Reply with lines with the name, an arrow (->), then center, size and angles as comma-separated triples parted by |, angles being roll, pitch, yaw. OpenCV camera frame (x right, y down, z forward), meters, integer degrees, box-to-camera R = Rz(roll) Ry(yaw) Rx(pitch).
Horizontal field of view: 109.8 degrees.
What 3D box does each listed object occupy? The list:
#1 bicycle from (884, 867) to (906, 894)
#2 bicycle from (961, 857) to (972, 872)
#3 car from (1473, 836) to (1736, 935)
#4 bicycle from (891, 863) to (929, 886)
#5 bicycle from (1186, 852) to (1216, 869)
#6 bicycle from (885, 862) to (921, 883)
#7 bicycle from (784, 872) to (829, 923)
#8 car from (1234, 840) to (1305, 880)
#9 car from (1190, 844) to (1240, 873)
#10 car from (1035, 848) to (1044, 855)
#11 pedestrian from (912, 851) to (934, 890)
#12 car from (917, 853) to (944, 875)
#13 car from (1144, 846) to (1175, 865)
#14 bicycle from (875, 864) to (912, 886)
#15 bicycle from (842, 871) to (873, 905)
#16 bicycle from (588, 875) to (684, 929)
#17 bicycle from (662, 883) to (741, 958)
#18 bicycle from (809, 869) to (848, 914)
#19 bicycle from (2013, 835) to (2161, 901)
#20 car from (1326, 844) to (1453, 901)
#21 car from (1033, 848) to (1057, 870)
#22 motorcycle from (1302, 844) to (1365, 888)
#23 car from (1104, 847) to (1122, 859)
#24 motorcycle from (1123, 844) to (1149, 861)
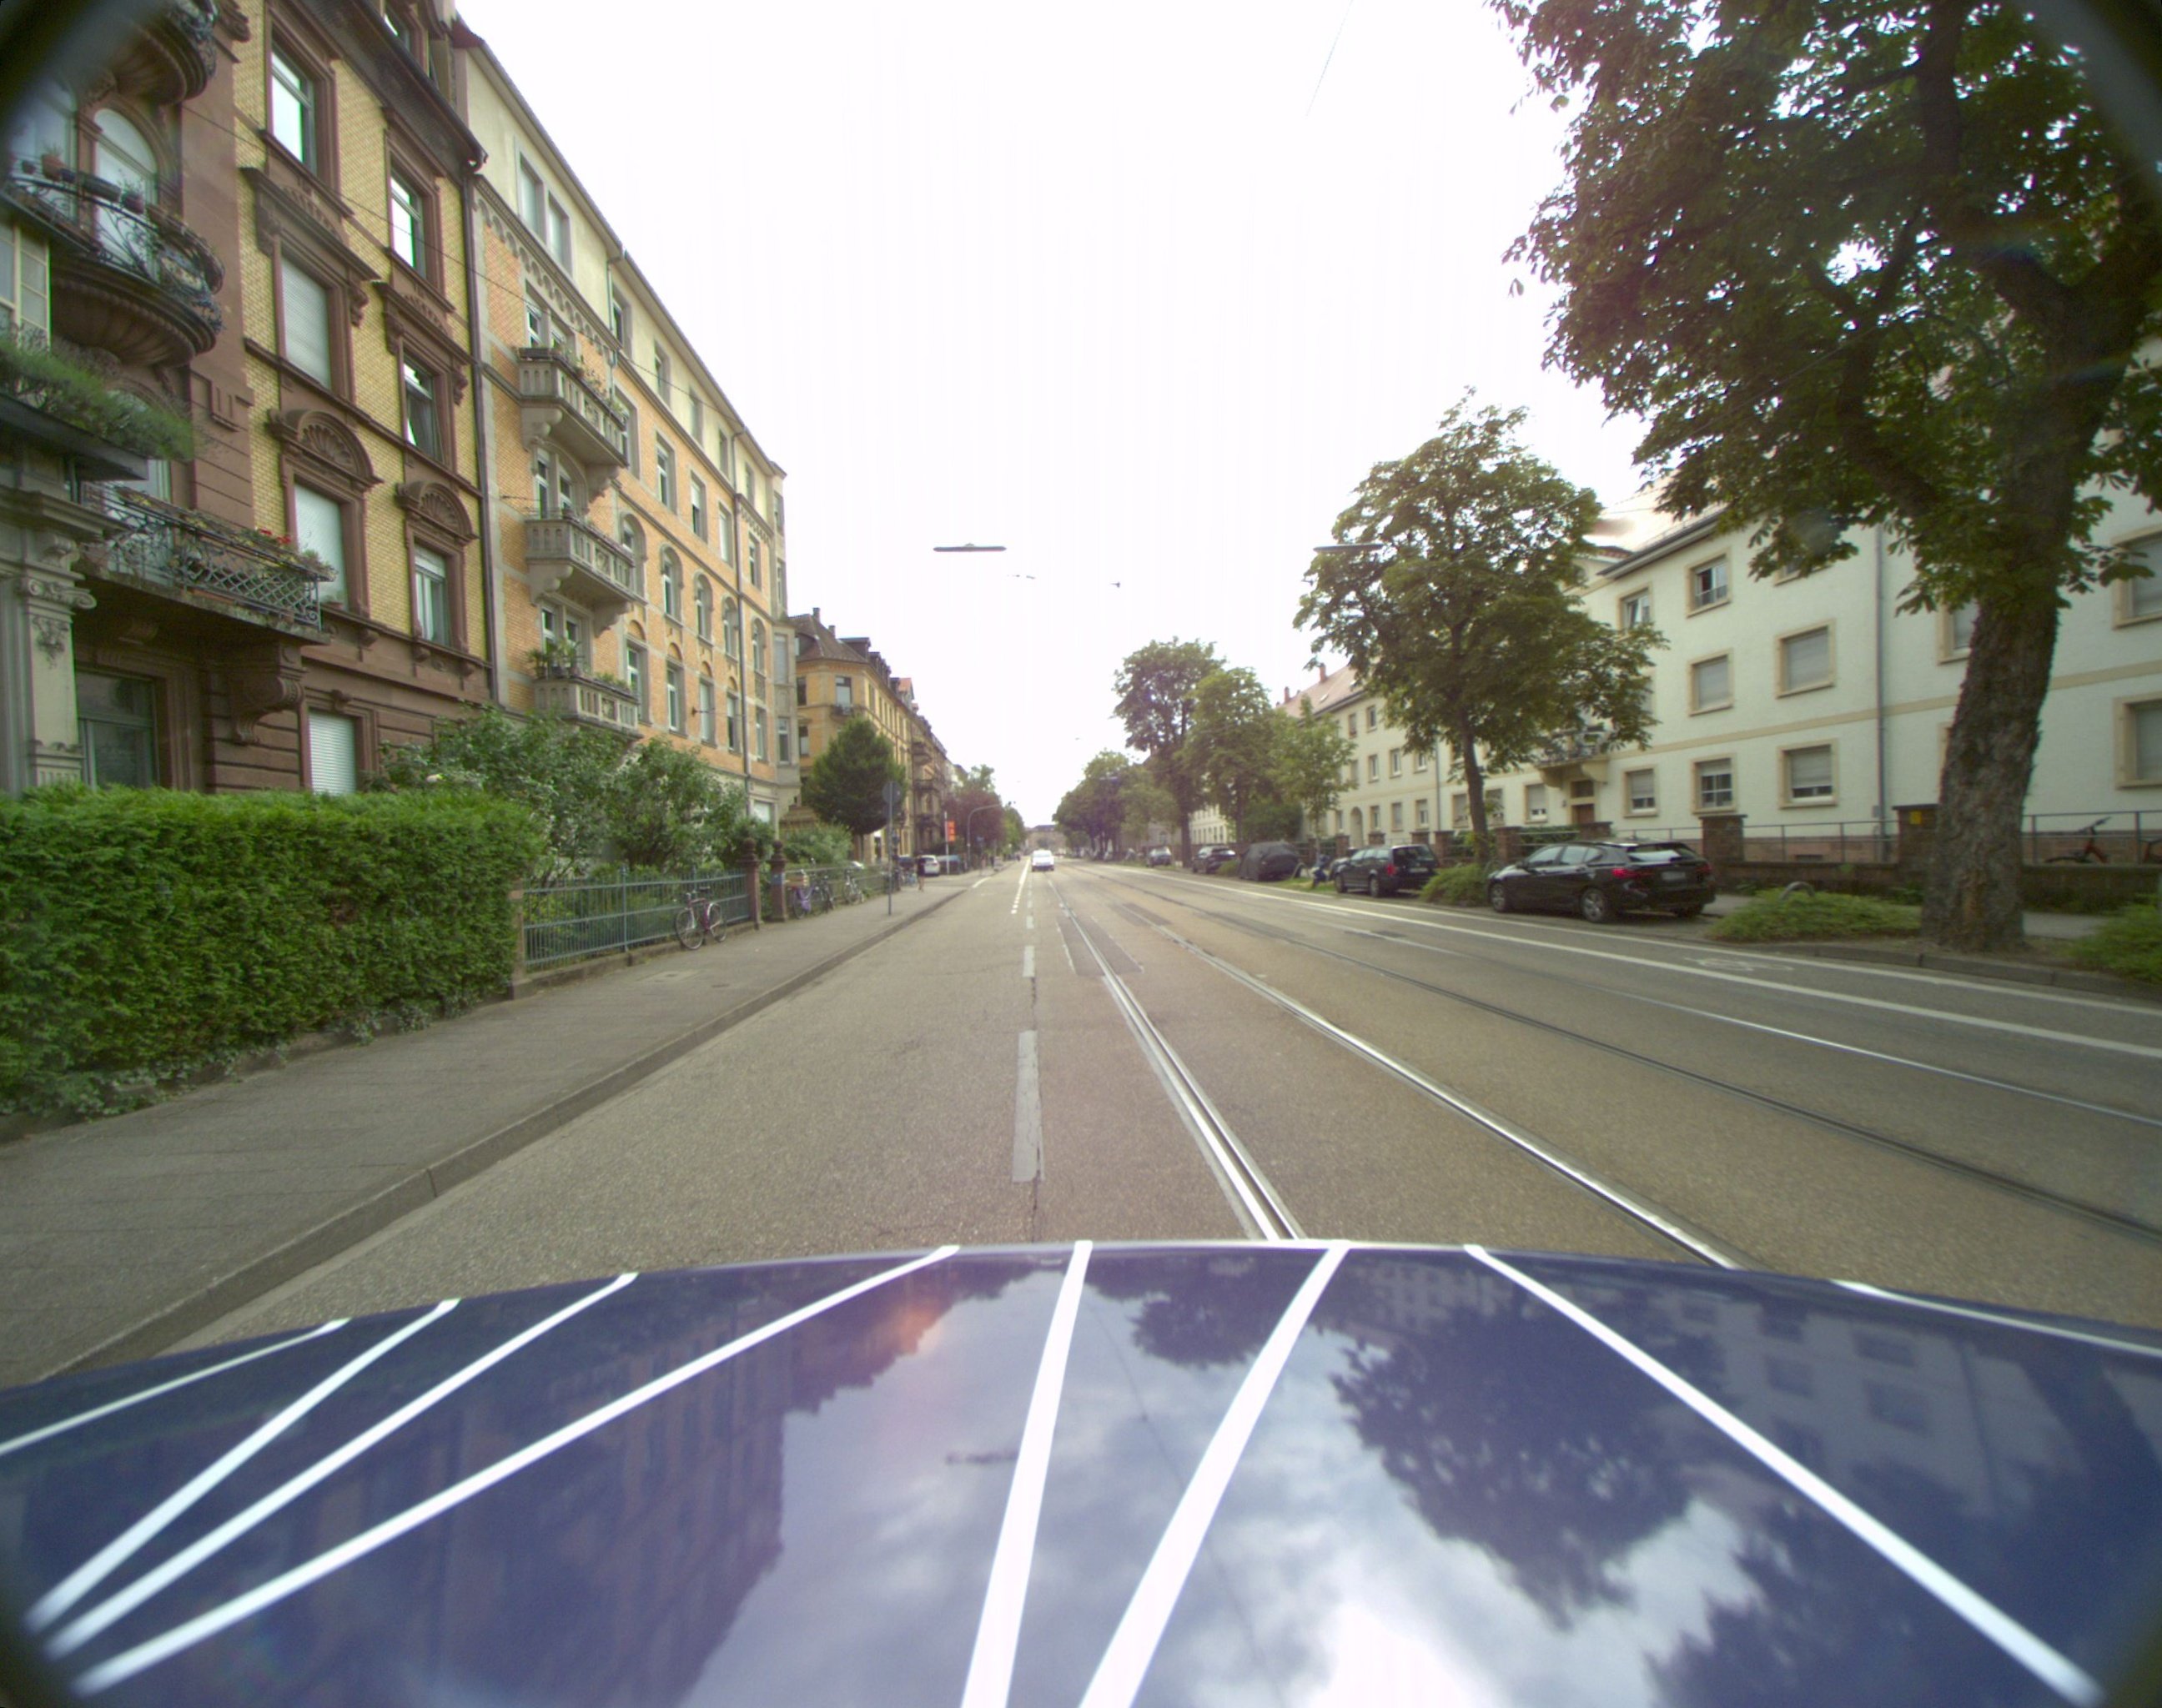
bicycle -> -7.318, 1.013, 29.941 | 0.580, 0.977, 1.671 | 2, 0, -4
bicycle -> -9.448, 0.853, 62.714 | 0.631, 1.106, 1.873 | -2, 1, -2
car -> 9.430, 0.481, 14.219 | 1.701, 1.415, 4.298 | -5, 1, -3
bicycle -> -8.862, 1.040, 39.348 | 0.629, 1.106, 1.878 | -1, 1, 40
bicycle -> 7.528, 0.416, 47.647 | 1.672, 0.965, 0.672 | -2, 1, -12
bicycle -> -9.968, 1.017, 42.530 | 1.890, 1.121, 0.533 | -2, 1, 13
bicycle -> -6.650, 1.026, 18.464 | 0.580, 1.105, 1.671 | 2, 0, -4
car -> 8.249, 0.244, 33.652 | 1.790, 1.602, 4.298 | -2, 1, -3
car -> 7.507, 0.219, 42.948 | 1.702, 1.462, 4.297 | -2, 1, -5
car -> -10.772, -0.665, 197.246 | 1.947, 1.675, 4.000 | -2, 1, 1
pedestrian -> -6.663, 0.682, 32.130 | 0.732, 1.614, 0.835 | -2, 1, -4
car -> -11.235, 0.691, 56.788 | 1.757, 1.516, 3.996 | -2, 1, -9
car -> 6.389, 0.113, 62.159 | 1.702, 1.462, 4.297 | -3, 1, -5
bicycle -> -10.228, 1.141, 41.457 | 1.890, 1.121, 0.533 | -2, 1, 18
bicycle -> -7.053, 1.060, 24.058 | 0.580, 0.977, 1.671 | 2, 0, -4
bicycle -> -9.736, 1.038, 16.672 | 1.671, 1.105, 0.611 | -2, 1, -5
bicycle -> -6.498, 1.104, 13.109 | 0.580, 1.105, 1.671 | -2, 1, -4
bicycle -> -6.779, 0.995, 20.433 | 0.580, 1.105, 1.671 | 2, 0, -4
bicycle -> 14.415, 0.177, 10.744 | 0.510, 0.858, 1.549 | -2, 1, -3
car -> 8.873, 0.464, 22.252 | 1.701, 1.415, 4.298 | -3, 1, -3
car -> -2.990, 0.366, 63.999 | 1.876, 1.670, 5.129 | -2, 1, -3
motorcycle -> 8.680, 0.411, 26.170 | 1.872, 1.253, 0.591 | -8, 2, -7
car -> 4.125, -0.101, 99.498 | 1.732, 1.462, 4.297 | -2, 1, -5
motorcycle -> 5.648, -0.142, 77.801 | 2.312, 1.382, 0.838 | -7, 2, 29
